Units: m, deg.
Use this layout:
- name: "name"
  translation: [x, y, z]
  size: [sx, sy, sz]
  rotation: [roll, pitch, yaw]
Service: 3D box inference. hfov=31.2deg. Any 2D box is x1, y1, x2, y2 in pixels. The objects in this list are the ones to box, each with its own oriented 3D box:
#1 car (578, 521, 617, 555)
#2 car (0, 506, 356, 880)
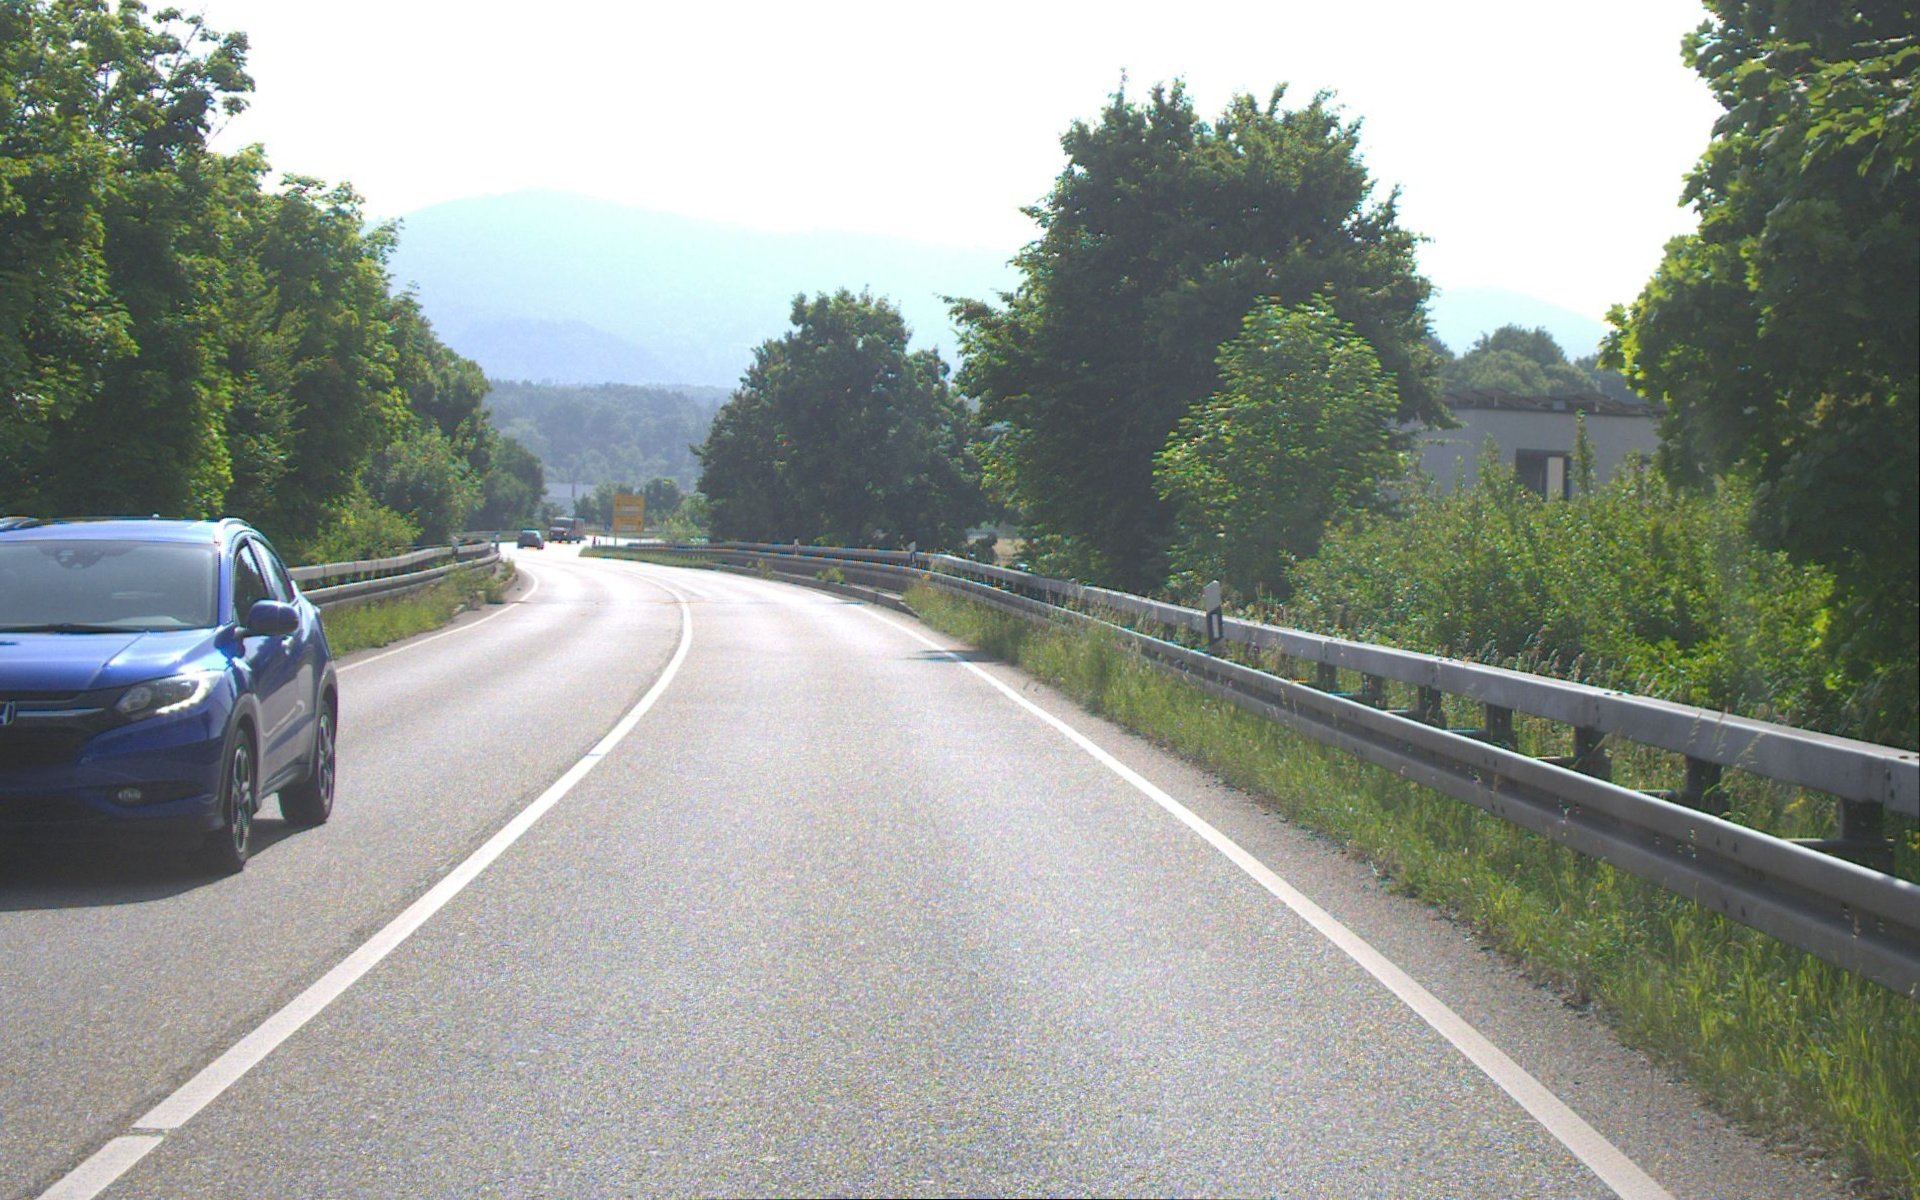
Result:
- name: "car"
  translation: [-22.135, -3.752, 210.003]
  size: [1.993, 2.007, 4.000]
  rotation: [1, 0, -1]
- name: "car"
  translation: [-4.075, 0.372, 16.391]
  size: [1.807, 1.555, 3.993]
  rotation: [-1, 1, -2]
